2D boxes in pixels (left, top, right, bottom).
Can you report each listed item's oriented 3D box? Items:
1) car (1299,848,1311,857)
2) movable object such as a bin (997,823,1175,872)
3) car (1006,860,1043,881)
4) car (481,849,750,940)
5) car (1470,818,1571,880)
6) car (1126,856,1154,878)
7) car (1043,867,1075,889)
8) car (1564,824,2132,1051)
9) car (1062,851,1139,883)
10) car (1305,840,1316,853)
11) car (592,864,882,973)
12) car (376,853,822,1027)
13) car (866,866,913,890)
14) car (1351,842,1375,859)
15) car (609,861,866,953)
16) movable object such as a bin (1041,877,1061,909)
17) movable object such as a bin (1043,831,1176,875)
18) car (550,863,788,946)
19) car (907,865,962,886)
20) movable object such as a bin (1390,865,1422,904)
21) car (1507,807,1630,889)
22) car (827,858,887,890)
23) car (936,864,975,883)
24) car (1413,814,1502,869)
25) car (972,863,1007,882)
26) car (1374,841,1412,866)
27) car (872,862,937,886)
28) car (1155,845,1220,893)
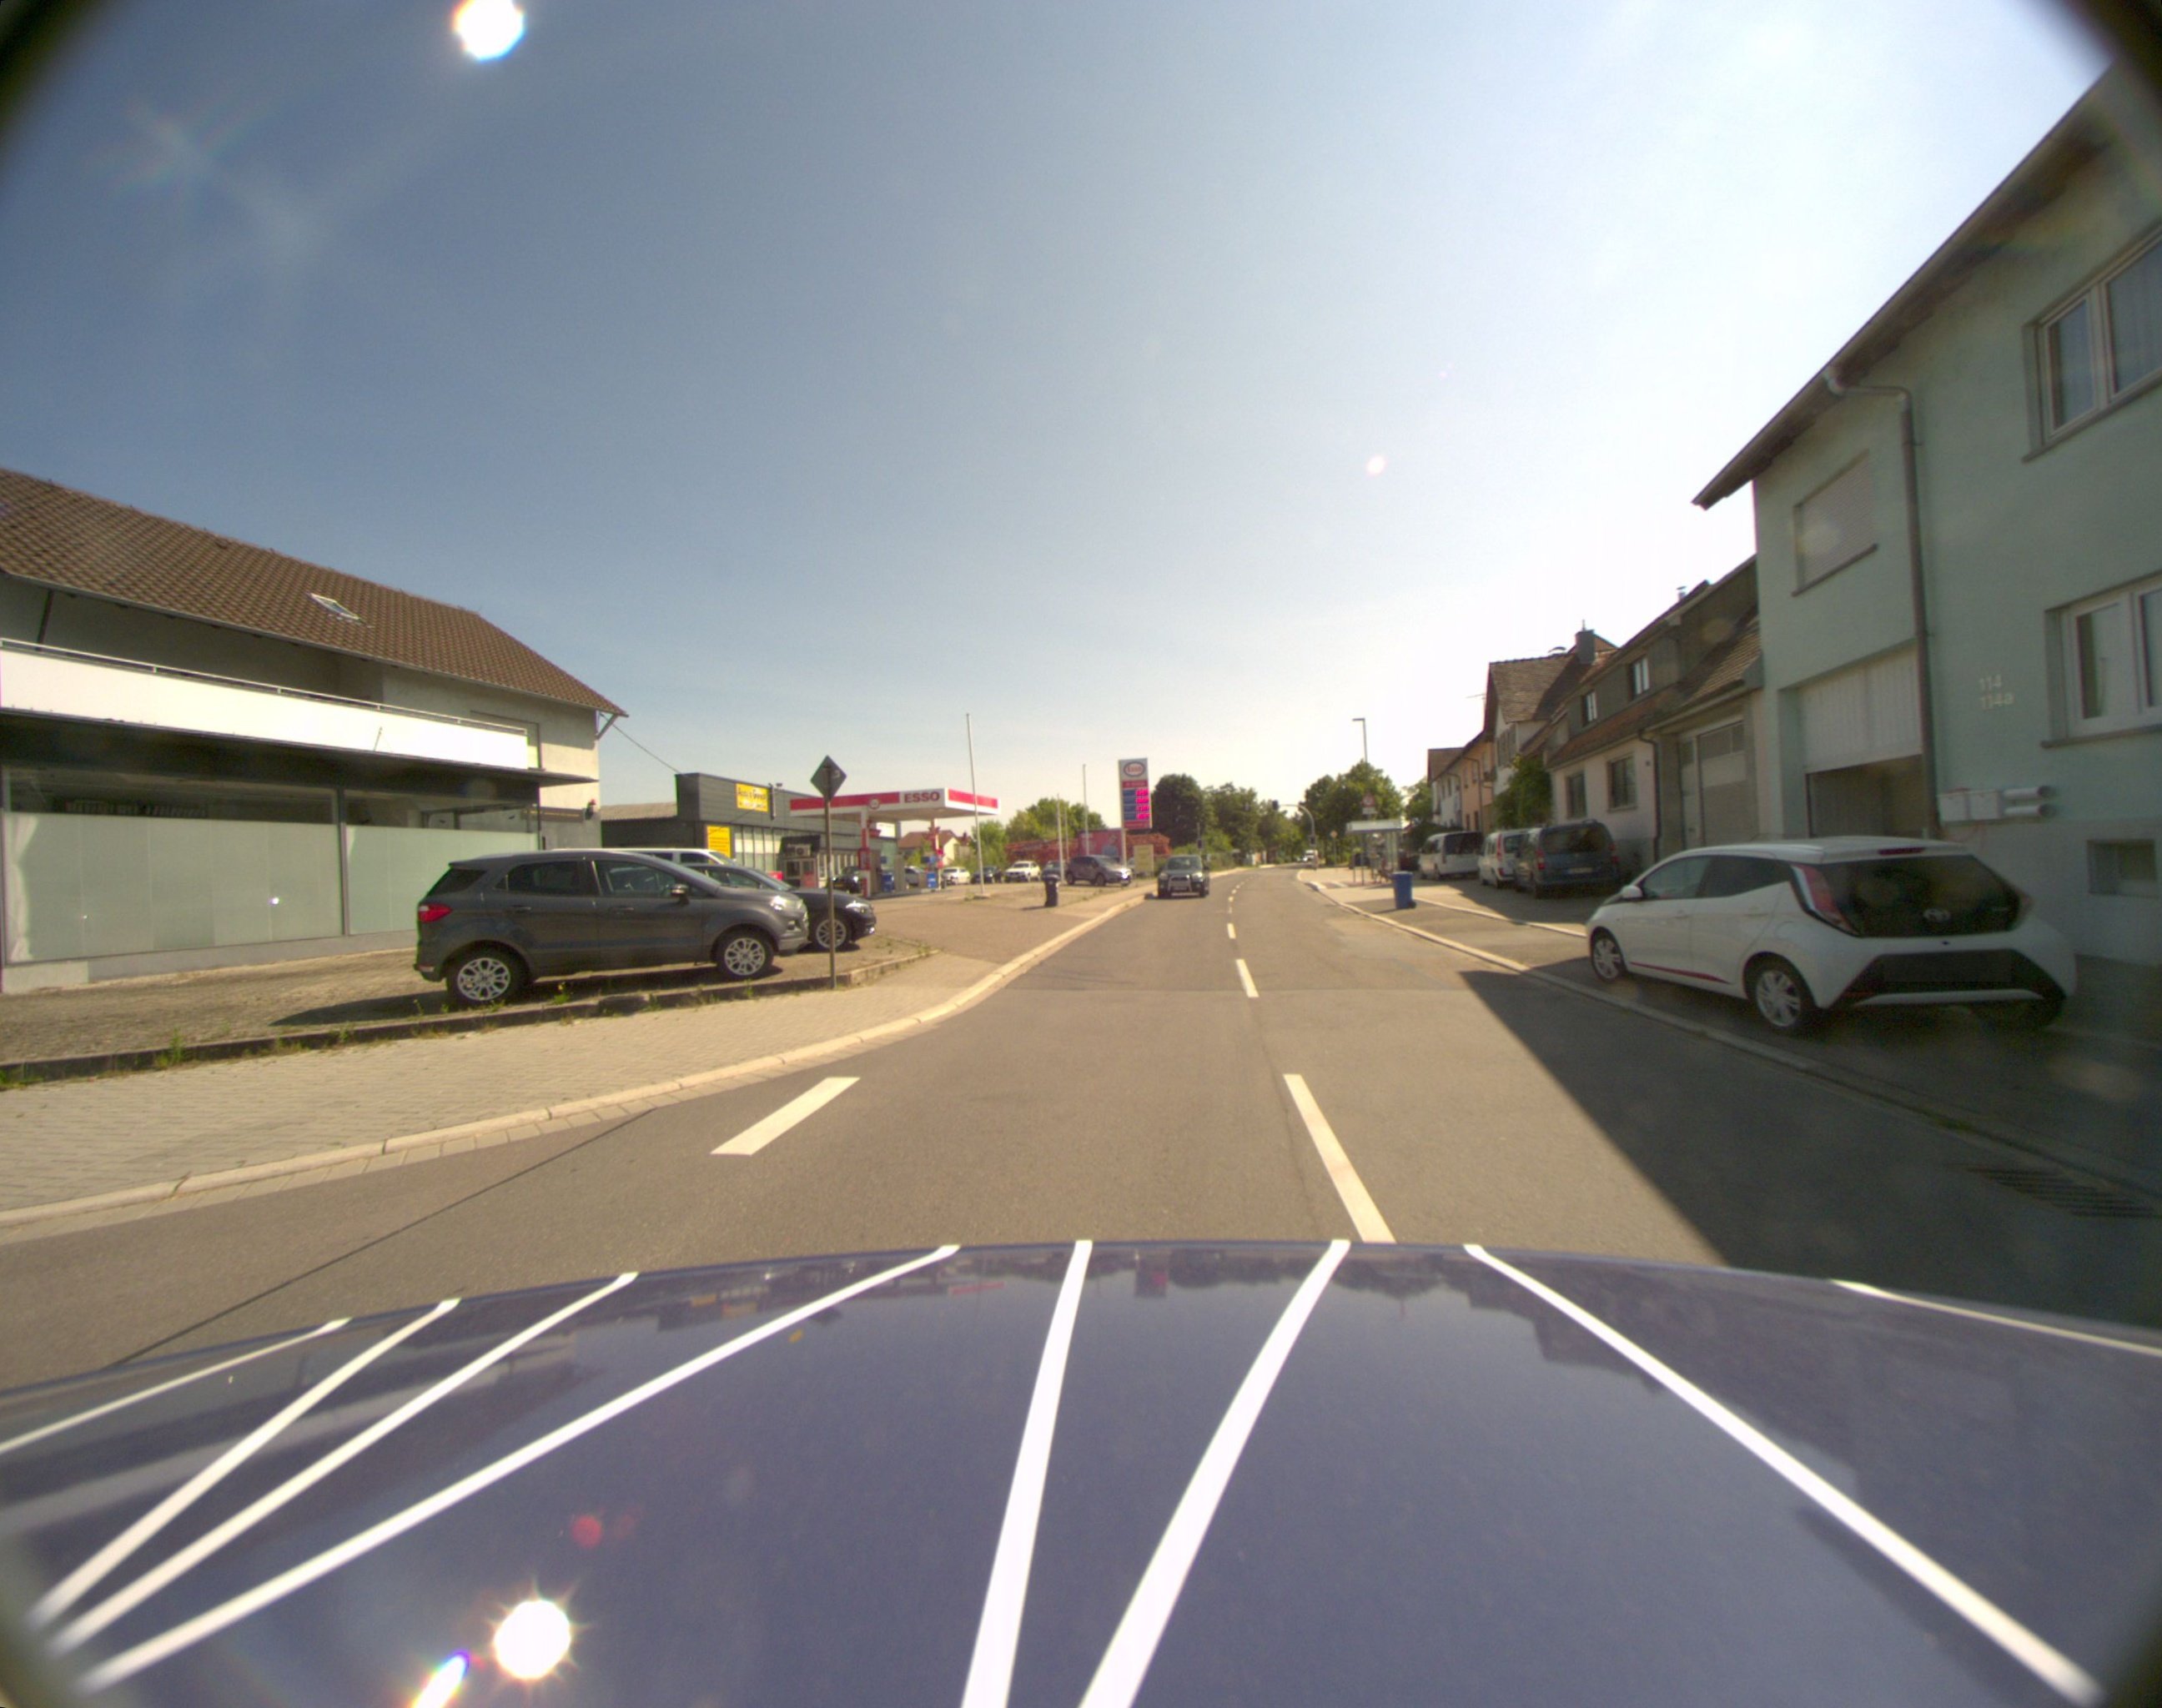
[{"bbox_3d":[43.217,-0.316,146.560,1.843,1.582,4.112,-1,0,20],"label":"car"},{"bbox_3d":[0.440,-0.538,69.902,16.076,3.994,2.776,-1,0,13],"label":"movable object such as a bin"},{"bbox_3d":[-4.475,1.303,60.865,2.002,1.582,4.341,-1,0,8],"label":"car"},{"bbox_3d":[-11.409,0.943,19.108,5.288,2.002,2.229,-1,0,-12],"label":"car"},{"bbox_3d":[14.048,-0.162,24.543,1.970,1.764,4.282,-2,0,19],"label":"car"},{"bbox_3d":[4.761,1.074,60.622,1.807,1.676,4.373,0,-1,10],"label":"car"},{"bbox_3d":[-1.715,1.864,60.347,1.845,1.582,4.108,-1,0,8],"label":"car"},{"bbox_3d":[6.167,0.563,6.816,1.687,1.453,3.651,-2,0,8],"label":"car"},{"bbox_3d":[0.978,0.676,39.677,1.778,1.546,4.171,-1,0,-37],"label":"car"},{"bbox_3d":[48.413,-1.545,160.203,1.936,2.488,5.846,-1,0,20],"label":"car"},{"bbox_3d":[-5.251,0.913,12.020,3.877,1.438,1.748,-1,0,-21],"label":"car"},{"bbox_3d":[-5.403,0.856,9.137,4.119,1.643,1.827,-1,0,-26],"label":"car"},{"bbox_3d":[-12.898,1.581,51.324,1.796,1.423,4.129,-1,0,5],"label":"car"},{"bbox_3d":[24.503,-0.303,66.113,1.716,1.399,4.403,-1,1,17],"label":"car"},{"bbox_3d":[-6.473,0.948,14.678,4.244,1.556,1.981,0,-2,-23],"label":"car"},{"bbox_3d":[-0.905,1.179,23.010,0.558,0.931,0.515,-1,0,4],"label":"movable object such as a bin"},{"bbox_3d":[2.935,-0.024,78.053,13.273,4.140,2.866,-1,0,13],"label":"movable object such as a bin"},{"bbox_3d":[-8.729,1.018,16.585,4.322,1.541,1.981,-1,0,-21],"label":"car"},{"bbox_3d":[-11.090,1.608,57.658,3.684,1.465,1.813,-1,0,10],"label":"car"},{"bbox_3d":[8.286,0.775,19.412,0.558,0.931,0.515,-4,0,4],"label":"movable object such as a bin"},{"bbox_3d":[12.551,-0.143,19.861,1.839,1.782,4.349,-5,-1,22],"label":"car"},{"bbox_3d":[-13.209,1.197,45.181,1.808,1.730,4.821,-2,-2,4],"label":"car"},{"bbox_3d":[-10.093,1.526,61.579,1.845,1.378,4.379,-1,0,8],"label":"car"},{"bbox_3d":[16.127,-0.504,32.882,2.129,1.974,5.270,-7,-1,13],"label":"car"},{"bbox_3d":[-7.290,1.464,60.912,1.845,1.378,4.002,-1,0,8],"label":"car"},{"bbox_3d":[19.866,0.023,48.477,1.717,1.444,3.920,-3,-2,15],"label":"car"},{"bbox_3d":[-12.773,1.446,55.068,4.148,1.624,1.813,-1,0,10],"label":"car"},{"bbox_3d":[4.286,0.595,30.055,1.846,1.686,4.404,-3,-2,16],"label":"car"}]
